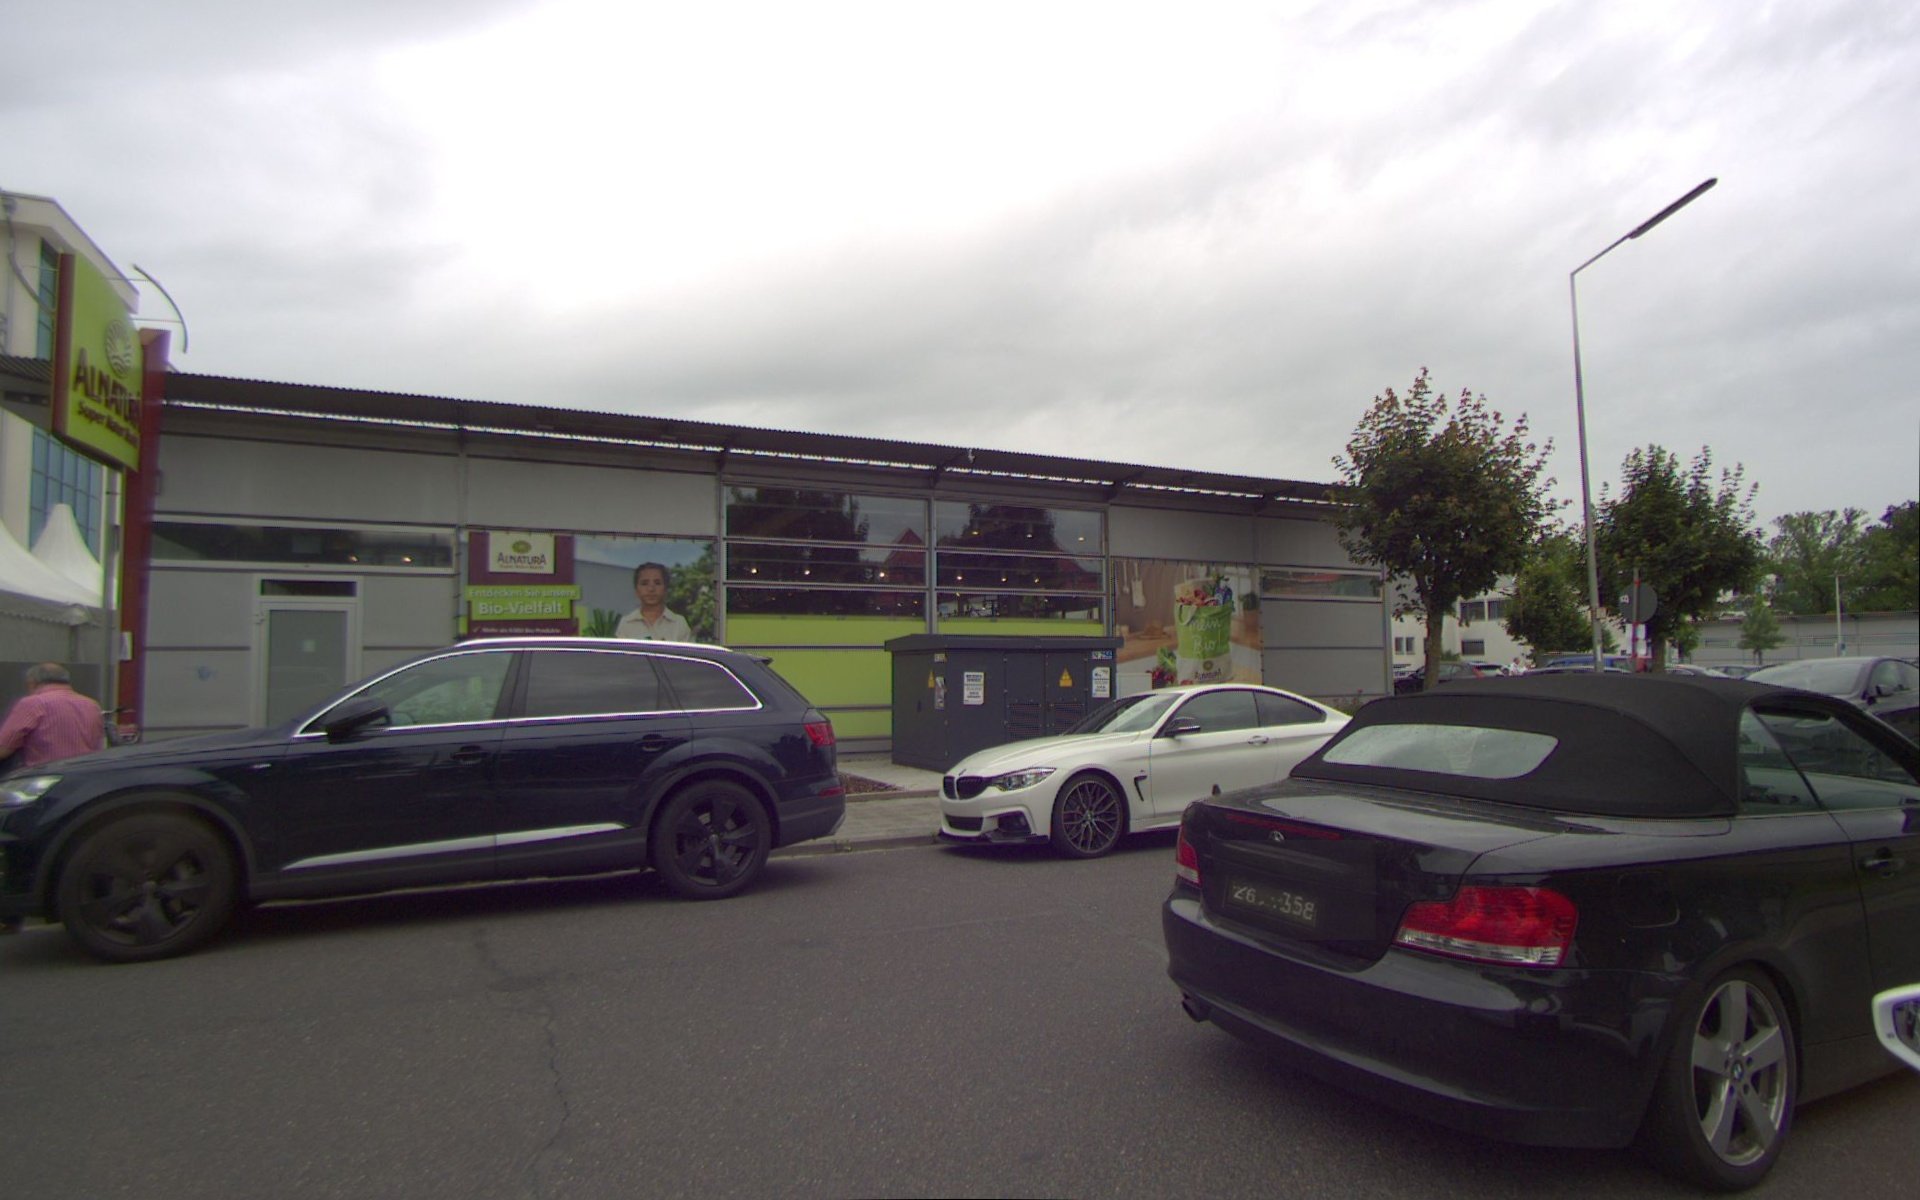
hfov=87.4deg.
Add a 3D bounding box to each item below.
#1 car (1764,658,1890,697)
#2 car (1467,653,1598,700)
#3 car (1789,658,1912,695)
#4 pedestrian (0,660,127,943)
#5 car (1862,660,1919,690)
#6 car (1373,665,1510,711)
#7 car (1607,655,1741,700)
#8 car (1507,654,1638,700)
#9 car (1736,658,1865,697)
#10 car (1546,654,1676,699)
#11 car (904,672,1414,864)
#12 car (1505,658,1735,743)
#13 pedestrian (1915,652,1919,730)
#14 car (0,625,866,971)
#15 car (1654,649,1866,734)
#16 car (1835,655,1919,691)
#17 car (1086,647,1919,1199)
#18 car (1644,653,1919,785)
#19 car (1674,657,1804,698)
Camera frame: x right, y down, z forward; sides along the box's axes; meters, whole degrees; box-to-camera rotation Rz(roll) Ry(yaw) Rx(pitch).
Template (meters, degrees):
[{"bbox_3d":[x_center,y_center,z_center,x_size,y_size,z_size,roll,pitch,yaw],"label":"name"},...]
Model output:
[{"bbox_3d":[40.001,3.573,46.438,1.851,1.690,3.977,1,-4,-25],"label":"car"},{"bbox_3d":[21.786,2.909,38.398,1.851,1.690,3.977,1,-4,-25],"label":"car"},{"bbox_3d":[42.874,3.691,48.459,1.851,1.690,3.977,1,-4,-25],"label":"car"},{"bbox_3d":[-5.794,1.227,6.249,0.642,1.641,0.675,-6,-8,28],"label":"pedestrian"},{"bbox_3d":[48.065,3.751,50.272,1.761,1.511,3.978,1,-4,-24],"label":"car"},{"bbox_3d":[16.615,3.028,34.746,3.938,1.504,1.869,-4,-5,38],"label":"car"},{"bbox_3d":[28.629,3.110,40.432,1.851,1.690,3.977,1,-4,-25],"label":"car"},{"bbox_3d":[23.891,2.985,39.331,1.851,1.690,3.977,1,-4,-25],"label":"car"},{"bbox_3d":[37.699,3.468,45.160,1.851,1.690,3.977,1,-4,-25],"label":"car"},{"bbox_3d":[26.056,3.065,40.321,1.851,1.690,3.977,1,-4,-25],"label":"car"},{"bbox_3d":[1.870,1.447,9.269,4.458,1.384,1.695,2,-9,-26],"label":"car"},{"bbox_3d":[14.539,2.148,22.374,1.901,1.641,3.863,1,-3,-25],"label":"car"},{"bbox_3d":[21.777,2.020,22.190,0.688,1.737,0.772,2,-3,-30],"label":"pedestrian"},{"bbox_3d":[-3.158,1.142,6.801,4.664,1.712,1.862,1,-8,-25],"label":"car"},{"bbox_3d":[20.732,2.350,26.181,1.742,2.039,3.910,2,-5,-32],"label":"car"},{"bbox_3d":[45.546,3.540,48.918,1.851,1.690,3.977,1,-4,-25],"label":"car"},{"bbox_3d":[2.670,0.914,3.944,4.085,1.376,1.739,2,-4,-28],"label":"car"},{"bbox_3d":[11.658,1.585,13.668,4.346,1.545,1.941,2,-8,-27],"label":"car"},{"bbox_3d":[33.166,3.296,42.888,1.851,1.690,3.977,1,-4,-25],"label":"car"}]
